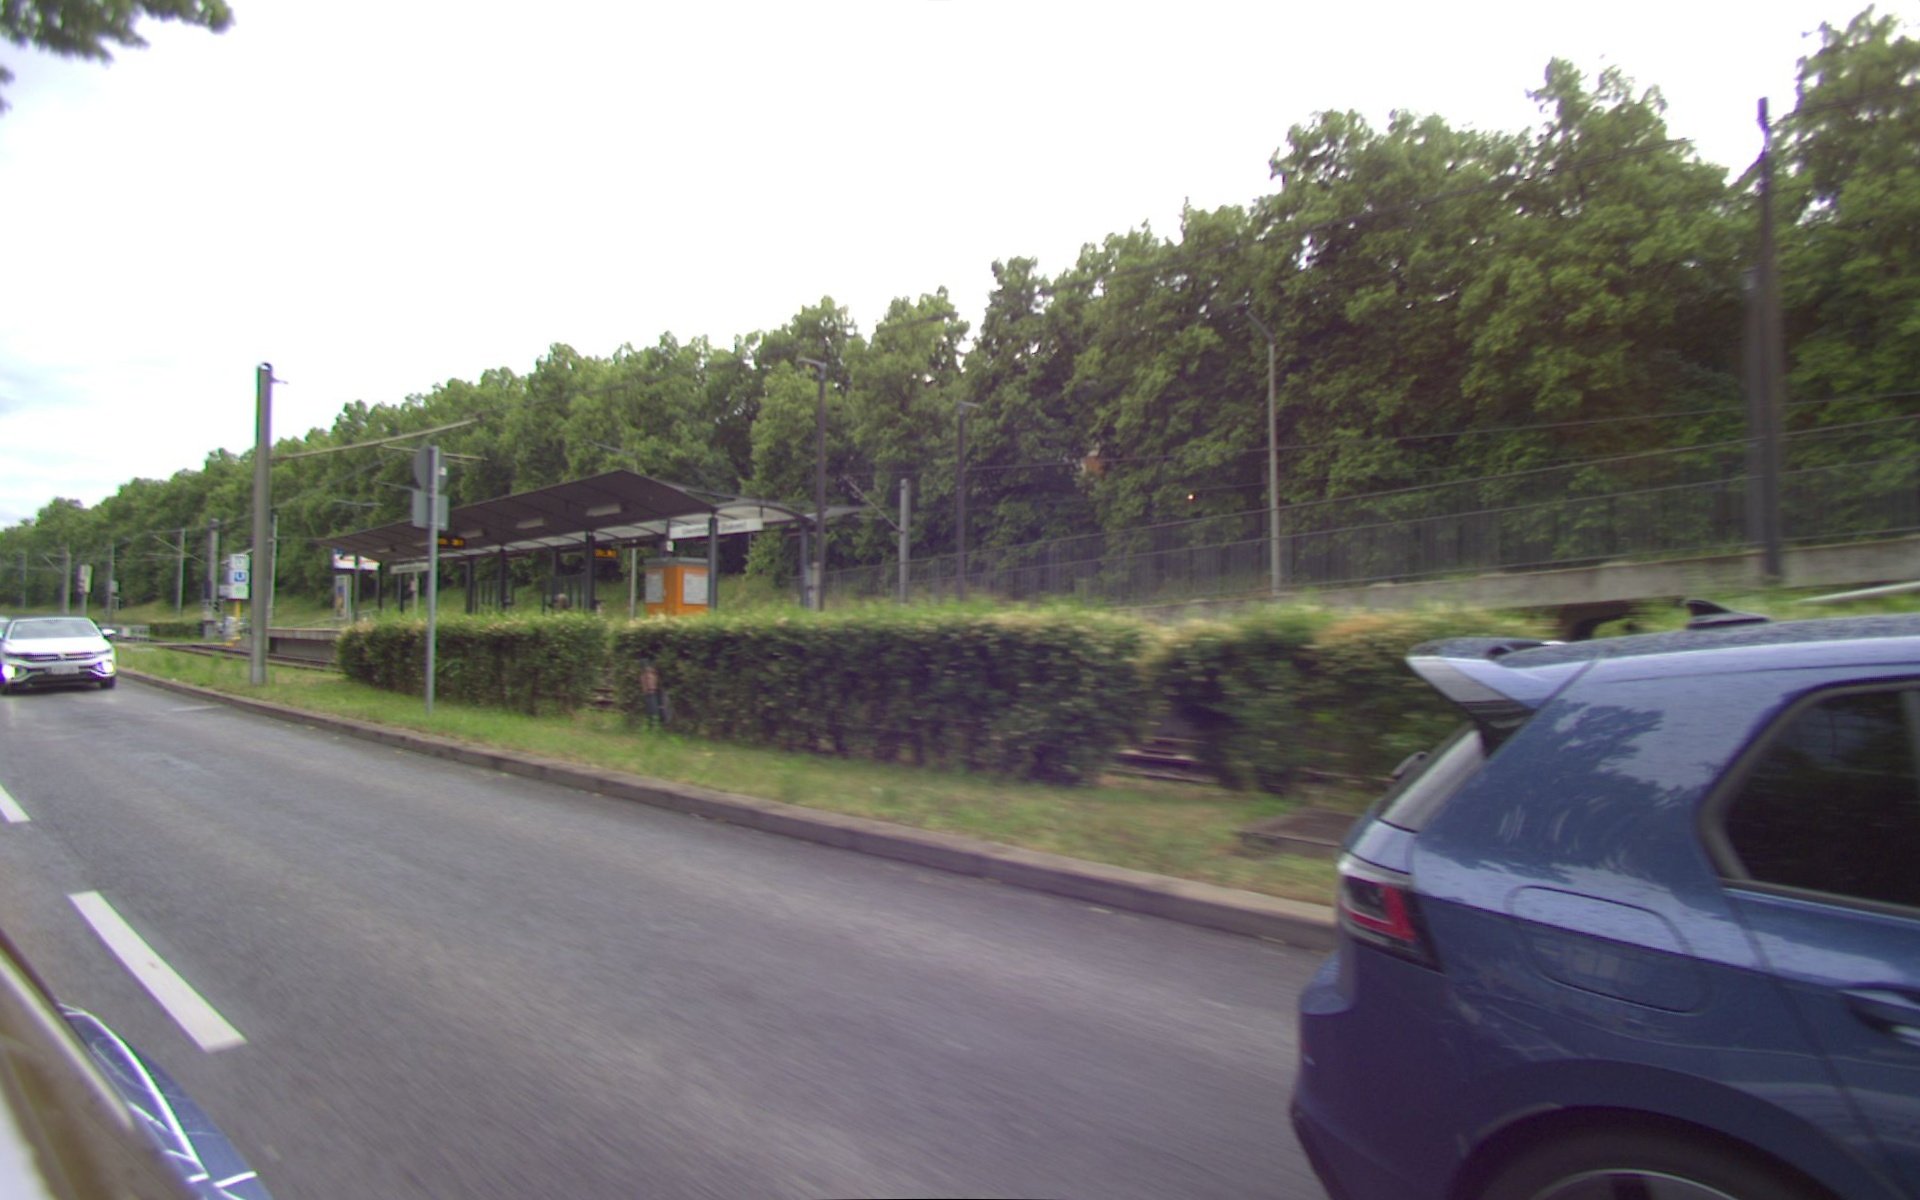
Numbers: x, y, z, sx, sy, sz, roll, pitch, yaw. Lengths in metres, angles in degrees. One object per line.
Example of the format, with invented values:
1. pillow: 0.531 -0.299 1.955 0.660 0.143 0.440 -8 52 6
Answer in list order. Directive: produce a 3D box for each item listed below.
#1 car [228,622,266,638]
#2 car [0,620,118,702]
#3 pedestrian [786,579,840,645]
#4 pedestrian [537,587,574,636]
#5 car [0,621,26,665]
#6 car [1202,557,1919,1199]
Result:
1. car: -63.451 2.632 90.012 3.996 1.414 1.778 -1 -1 39
2. car: -19.114 1.187 21.225 1.932 1.476 4.703 0 0 -44
3. pedestrian: -3.687 0.305 25.453 0.924 1.623 1.027 1 -2 -45
4. pedestrian: -11.688 0.335 29.232 0.692 1.366 0.745 -1 -1 41
5. car: -35.023 1.543 36.335 4.700 1.492 1.933 -1 0 44
6. car: 2.702 0.617 1.255 4.345 1.389 1.789 -1 -1 41
